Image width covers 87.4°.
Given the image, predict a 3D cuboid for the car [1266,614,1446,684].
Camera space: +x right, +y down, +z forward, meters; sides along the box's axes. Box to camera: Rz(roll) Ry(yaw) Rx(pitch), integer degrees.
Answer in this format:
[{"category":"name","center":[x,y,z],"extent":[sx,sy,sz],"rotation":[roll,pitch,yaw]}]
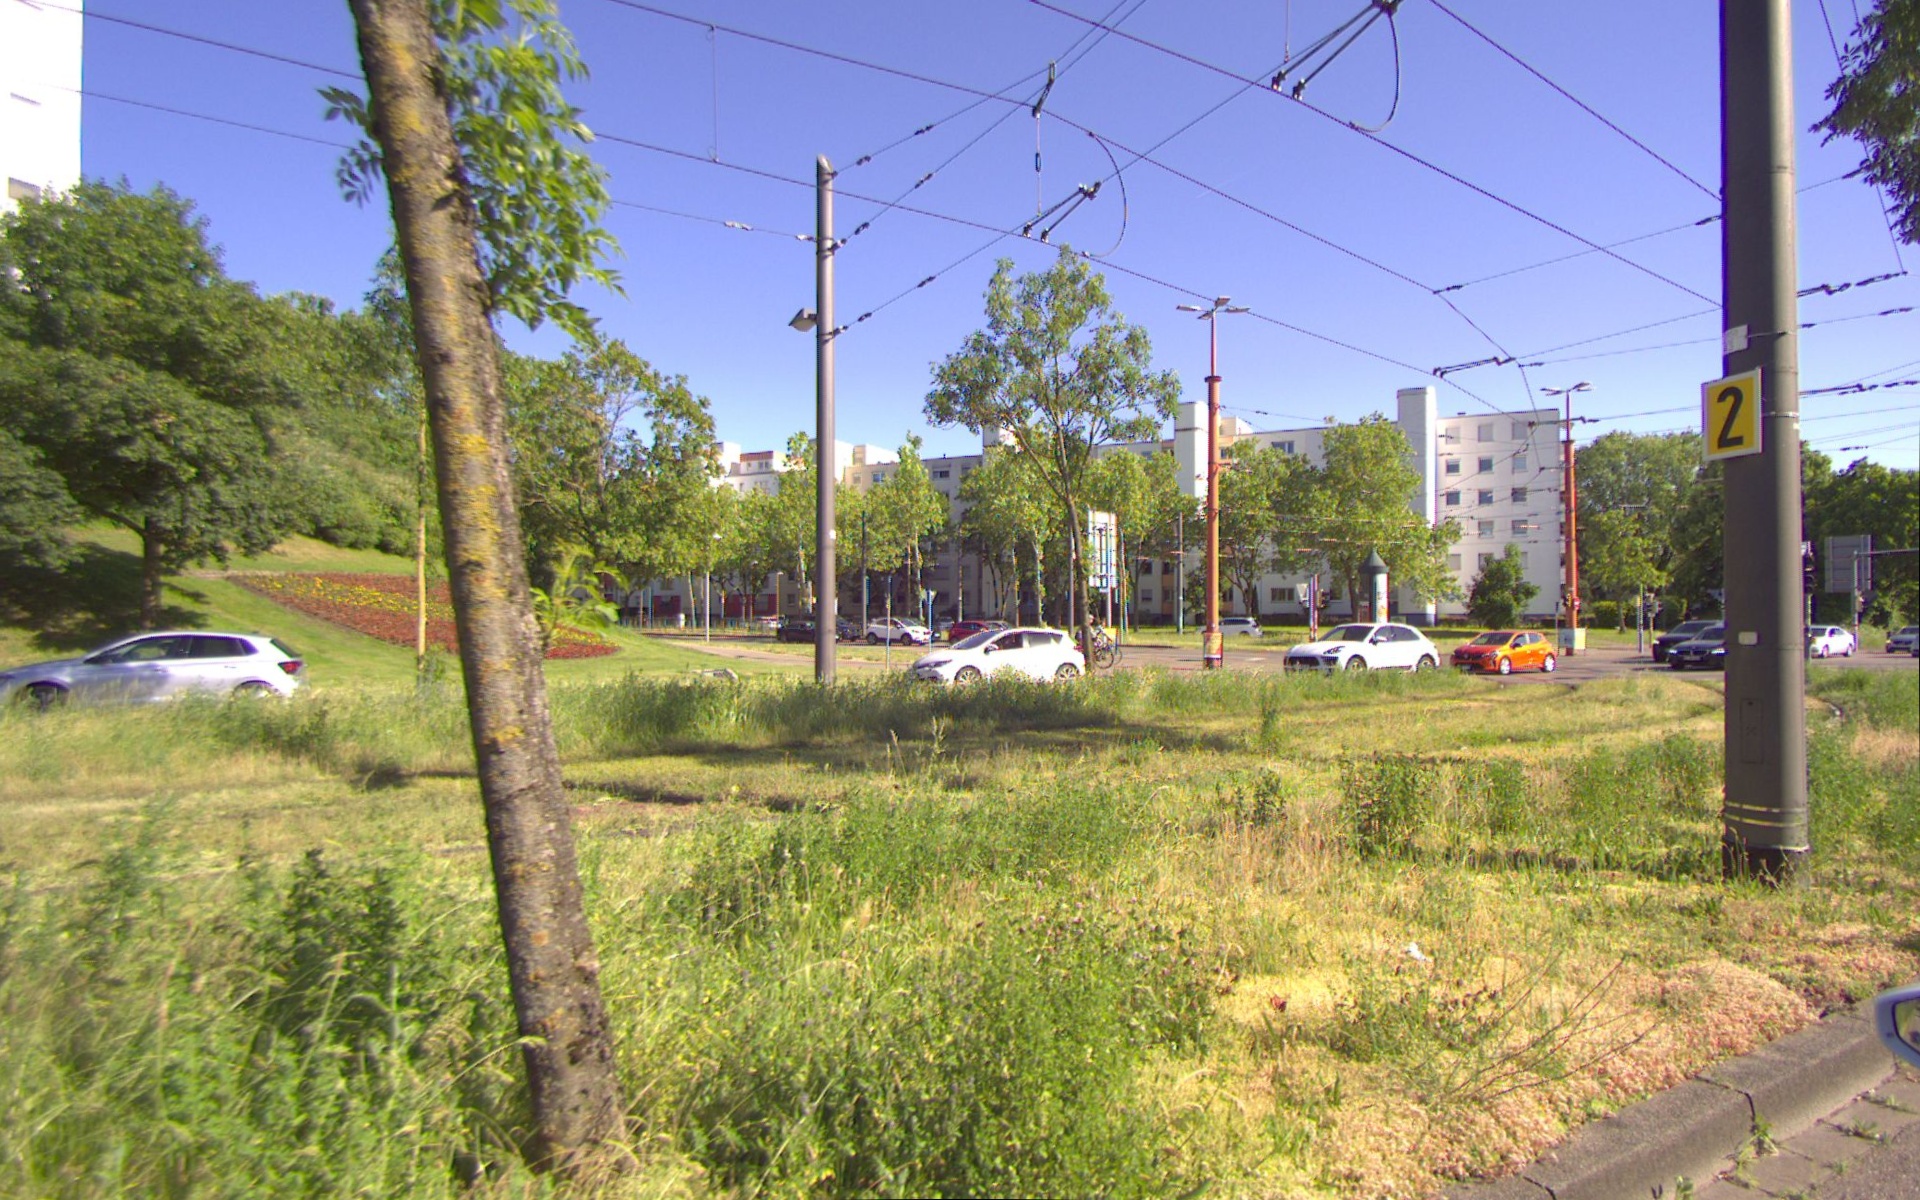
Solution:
[{"category":"car","center":[10.284,1.225,26.028],"extent":[4.601,1.643,1.886],"rotation":[1,0,-30]}]

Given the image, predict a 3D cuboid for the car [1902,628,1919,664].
[{"category":"car","center":[44.519,2.086,45.458],"extent":[3.713,1.629,1.755],"rotation":[1,-2,-30]}]

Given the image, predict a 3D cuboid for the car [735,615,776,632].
[{"category":"car","center":[-20.812,2.389,102.167],"extent":[3.935,1.617,1.889],"rotation":[1,0,-17]}]

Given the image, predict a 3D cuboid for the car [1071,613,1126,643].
[{"category":"car","center":[11.055,2.250,80.430],"extent":[3.935,2.341,1.889],"rotation":[1,0,-17]}]

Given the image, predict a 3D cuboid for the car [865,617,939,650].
[{"category":"car","center":[-3.442,1.941,59.105],"extent":[3.928,1.773,1.909],"rotation":[1,0,30]}]

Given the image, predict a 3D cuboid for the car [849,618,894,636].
[{"category":"car","center":[-8.327,2.550,94.283],"extent":[3.935,1.617,1.889],"rotation":[1,0,-17]}]

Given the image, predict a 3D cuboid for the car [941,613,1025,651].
[{"category":"car","center":[1.241,1.740,55.567],"extent":[4.198,1.926,1.996],"rotation":[1,0,30]}]

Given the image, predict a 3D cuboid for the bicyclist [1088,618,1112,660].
[{"category":"bicyclist","center":[4.916,1.349,35.277],"extent":[0.742,1.449,0.752],"rotation":[1,0,16]}]

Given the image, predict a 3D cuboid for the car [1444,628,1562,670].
[{"category":"car","center":[18.408,1.633,34.017],"extent":[4.129,1.315,1.649],"rotation":[1,0,-31]}]

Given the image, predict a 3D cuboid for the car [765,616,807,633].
[{"category":"car","center":[-17.392,2.435,100.283],"extent":[3.935,1.617,1.889],"rotation":[1,0,-17]}]

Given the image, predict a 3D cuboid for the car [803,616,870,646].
[{"category":"car","center":[-8.000,1.967,64.981],"extent":[3.928,1.773,1.909],"rotation":[1,0,30]}]

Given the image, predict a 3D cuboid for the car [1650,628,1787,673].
[{"category":"car","center":[26.511,1.730,35.076],"extent":[4.929,1.428,1.985],"rotation":[1,0,-29]}]

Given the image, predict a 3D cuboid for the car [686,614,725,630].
[{"category":"car","center":[-26.775,2.311,105.770],"extent":[3.935,1.617,1.889],"rotation":[1,0,-17]}]

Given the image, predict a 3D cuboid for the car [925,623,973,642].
[{"category":"car","center":[-1.005,2.857,89.288],"extent":[3.935,1.617,1.889],"rotation":[1,0,-17]}]

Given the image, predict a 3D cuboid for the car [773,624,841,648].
[{"category":"car","center":[-9.515,2.234,62.258],"extent":[3.928,1.340,1.733],"rotation":[1,0,30]}]

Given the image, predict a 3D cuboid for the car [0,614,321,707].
[{"category":"car","center":[-12.587,0.907,15.976],"extent":[3.952,1.310,1.789],"rotation":[1,0,-30]}]

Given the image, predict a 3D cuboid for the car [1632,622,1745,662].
[{"category":"car","center":[29.494,1.667,40.629],"extent":[4.575,1.500,1.984],"rotation":[1,0,-30]}]

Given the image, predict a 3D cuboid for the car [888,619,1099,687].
[{"category":"car","center":[0.769,1.177,23.046],"extent":[4.482,1.416,1.893],"rotation":[1,0,-26]}]

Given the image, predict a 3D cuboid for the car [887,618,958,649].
[{"category":"car","center":[-2.327,2.044,61.936],"extent":[3.928,1.773,1.909],"rotation":[1,0,30]}]

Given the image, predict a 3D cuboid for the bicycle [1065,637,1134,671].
[{"category":"bicycle","center":[4.898,1.885,35.288],"extent":[2.313,1.095,0.474],"rotation":[1,0,15]}]

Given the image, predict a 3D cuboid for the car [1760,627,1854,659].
[{"category":"car","center":[39.663,1.990,46.998],"extent":[4.640,1.451,1.984],"rotation":[1,-2,-31]}]

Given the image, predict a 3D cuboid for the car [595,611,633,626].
[{"category":"car","center":[-39.562,2.153,114.870],"extent":[3.935,1.617,1.889],"rotation":[1,0,-17]}]

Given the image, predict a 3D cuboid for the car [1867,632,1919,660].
[{"category":"car","center":[50.626,2.428,53.788],"extent":[4.352,1.392,1.982],"rotation":[1,0,-33]}]

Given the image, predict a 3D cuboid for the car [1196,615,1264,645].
[{"category":"car","center":[19.047,2.088,70.855],"extent":[4.326,2.040,1.997],"rotation":[0,-1,27]}]
